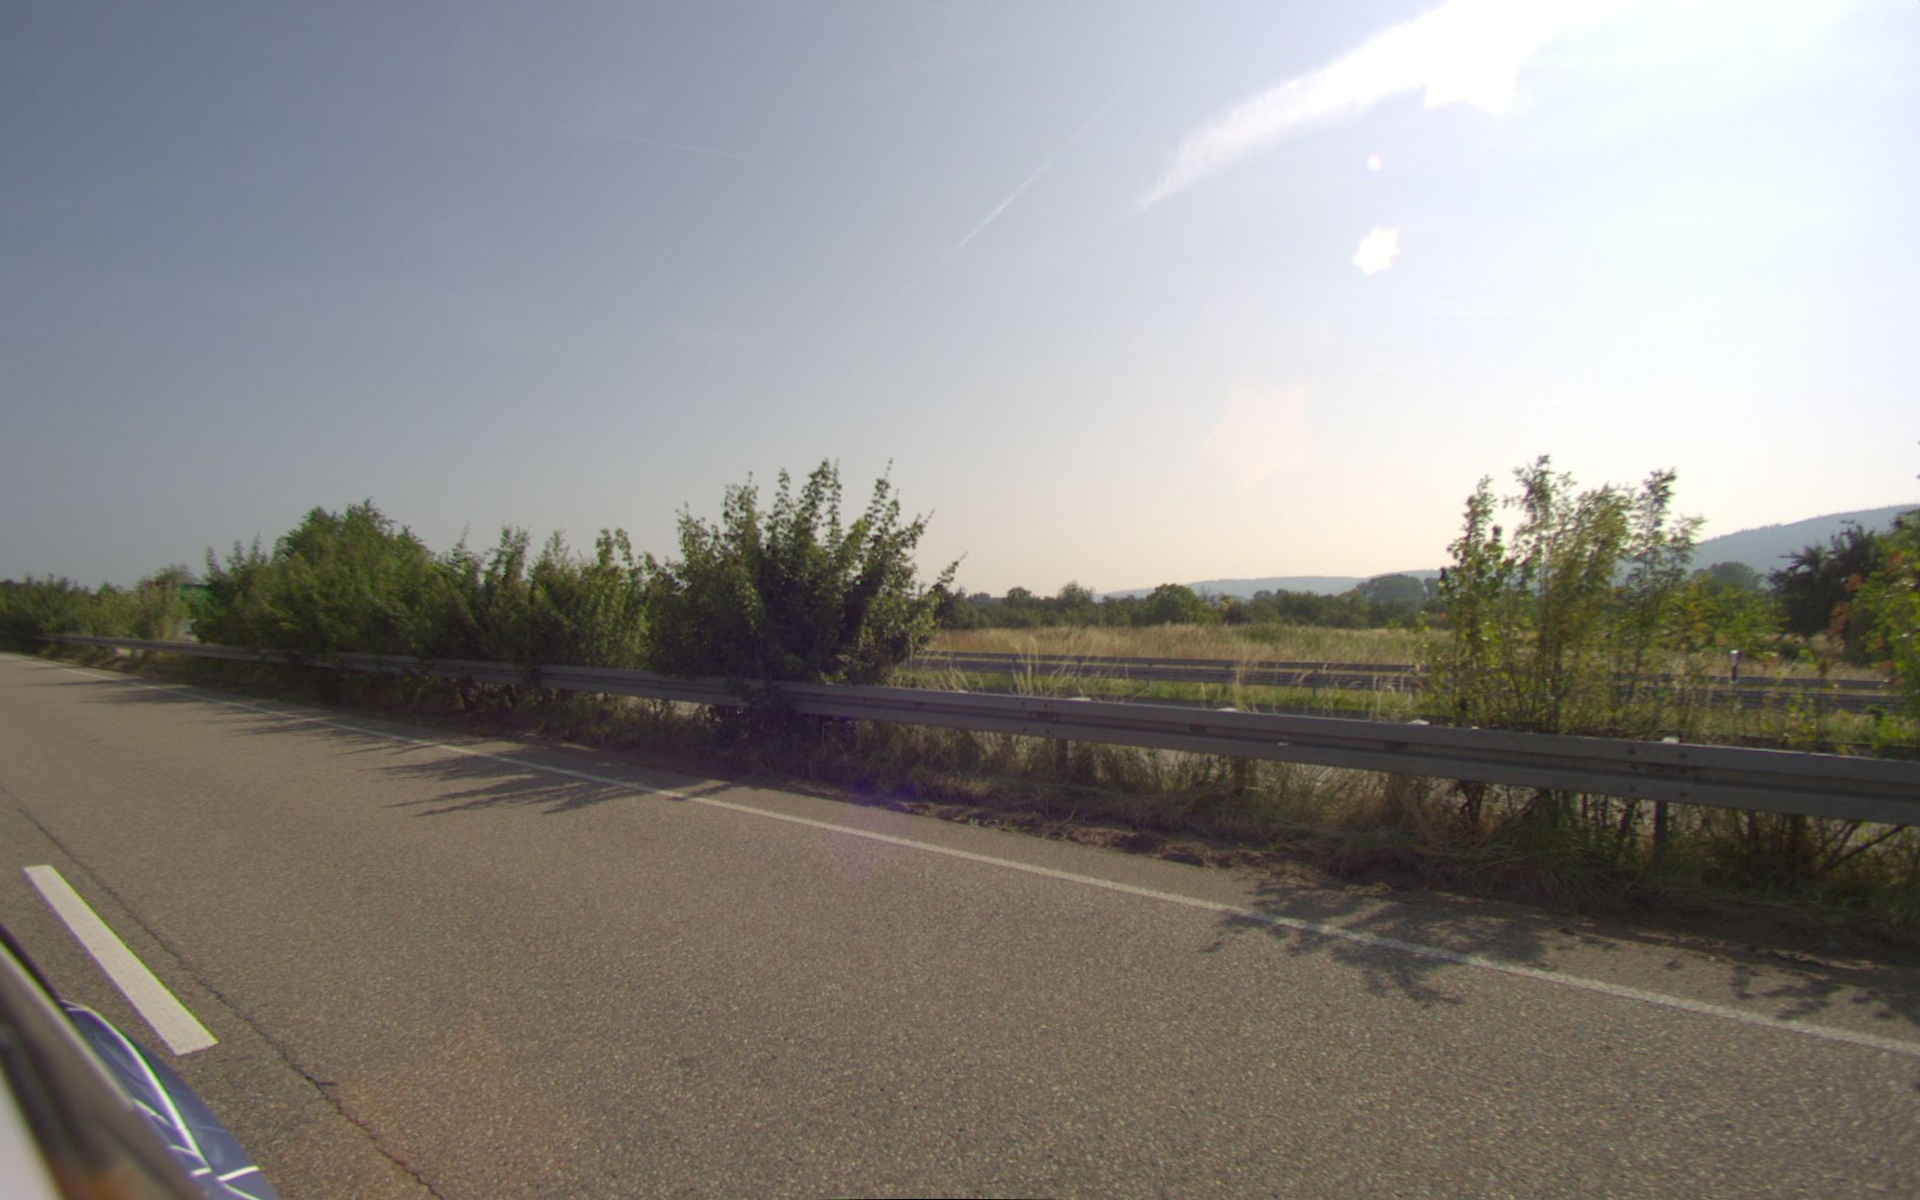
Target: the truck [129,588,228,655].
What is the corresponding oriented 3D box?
[{"bbox_3d":[-45.204,1.243,58.375,10.381,3.616,2.575,-1,-2,41],"label":"truck"}]
